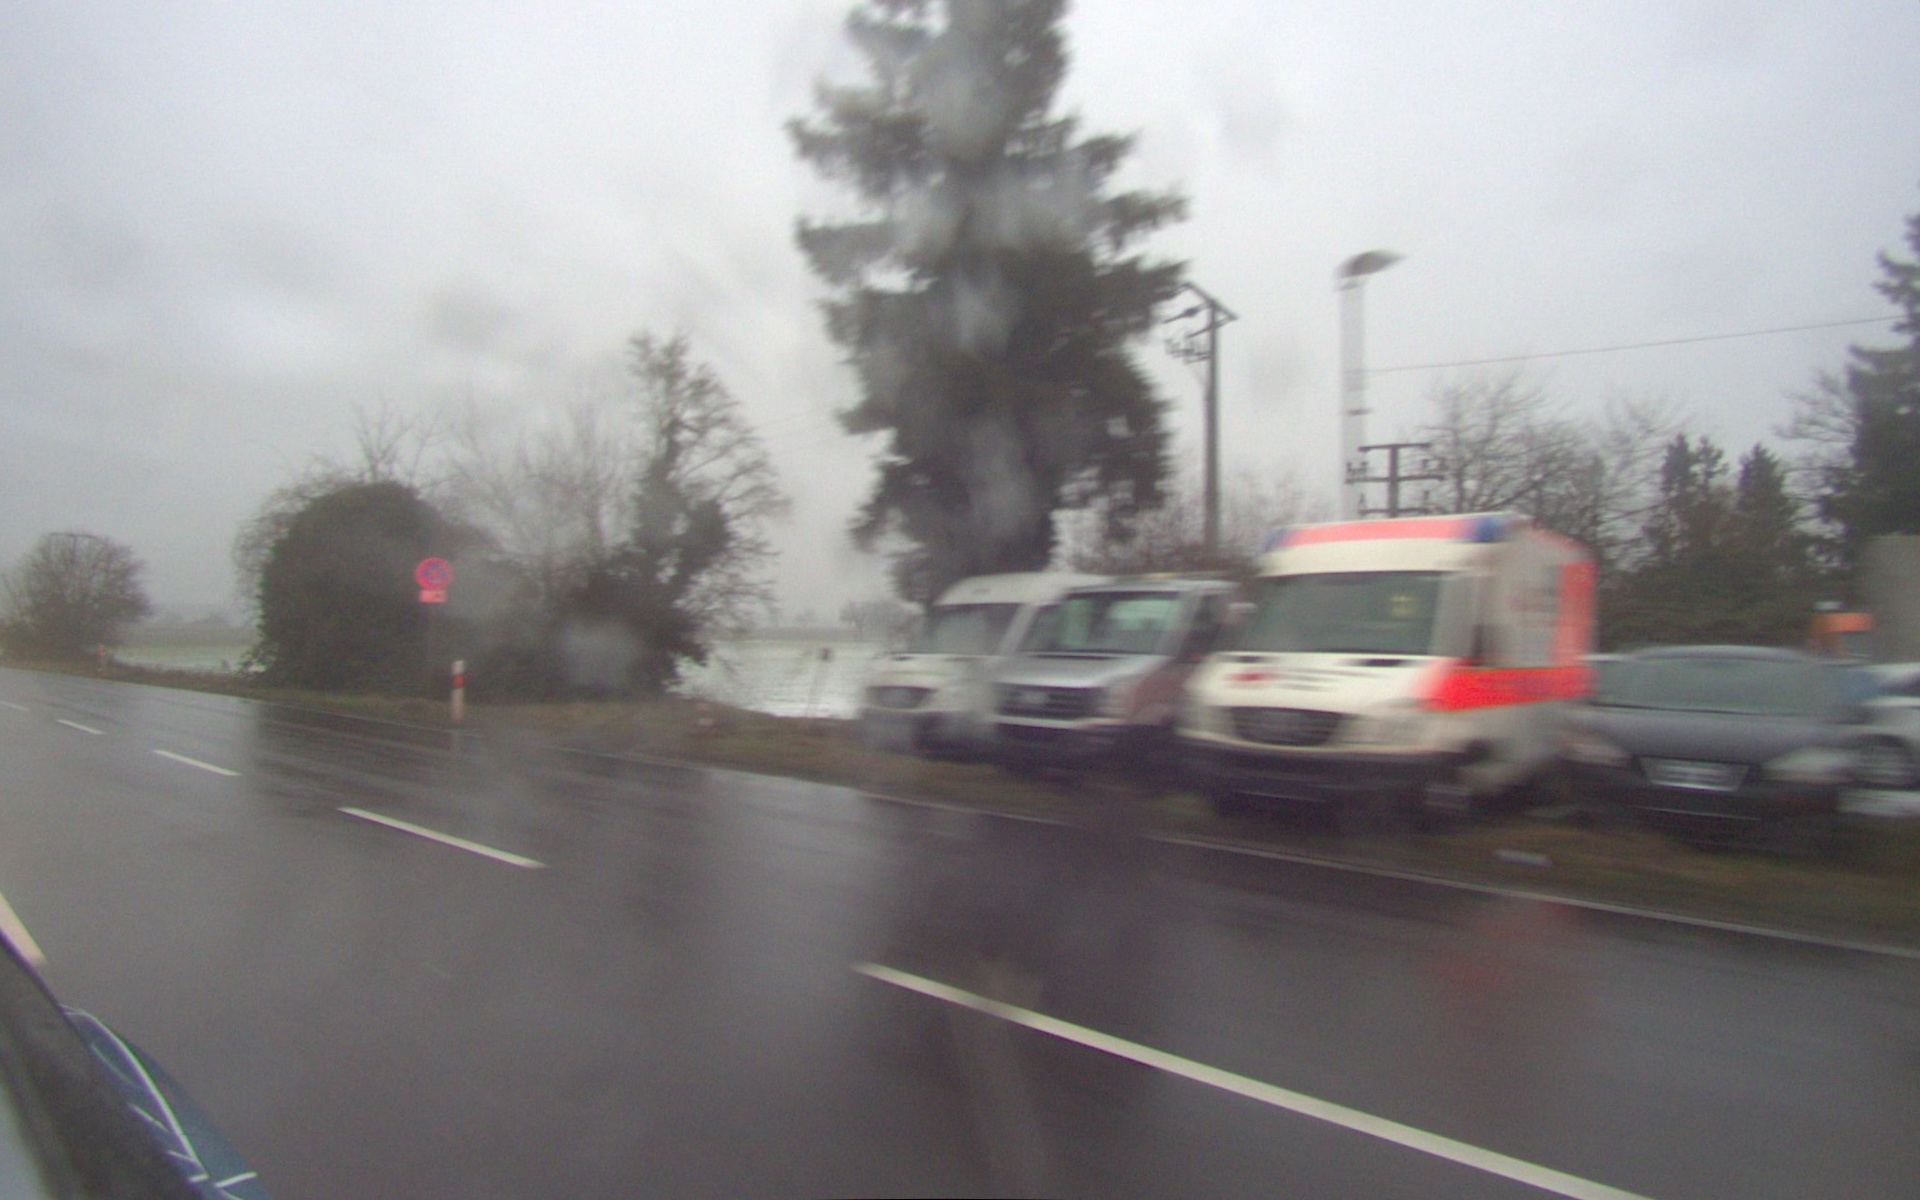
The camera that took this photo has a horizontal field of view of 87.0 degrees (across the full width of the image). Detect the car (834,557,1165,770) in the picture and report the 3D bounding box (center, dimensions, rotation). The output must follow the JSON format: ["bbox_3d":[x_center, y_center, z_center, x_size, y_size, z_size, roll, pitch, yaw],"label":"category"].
[{"bbox_3d":[0.783,0.852,14.121,2.078,2.408,5.053,-2,-4,37],"label":"car"}]

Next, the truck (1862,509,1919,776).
[{"bbox_3d":[15.230,0.557,12.486,5.841,3.481,2.012,-1,-4,36],"label":"truck"}]

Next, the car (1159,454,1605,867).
[{"bbox_3d":[4.327,0.539,9.558,2.174,2.652,6.093,-2,-4,40],"label":"car"}]

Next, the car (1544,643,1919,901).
[{"bbox_3d":[6.387,1.140,8.320,1.953,1.494,4.701,-2,-4,40],"label":"car"}]

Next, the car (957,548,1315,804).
[{"bbox_3d":[2.202,0.804,11.481,1.986,2.290,4.620,-2,-4,39],"label":"car"}]
